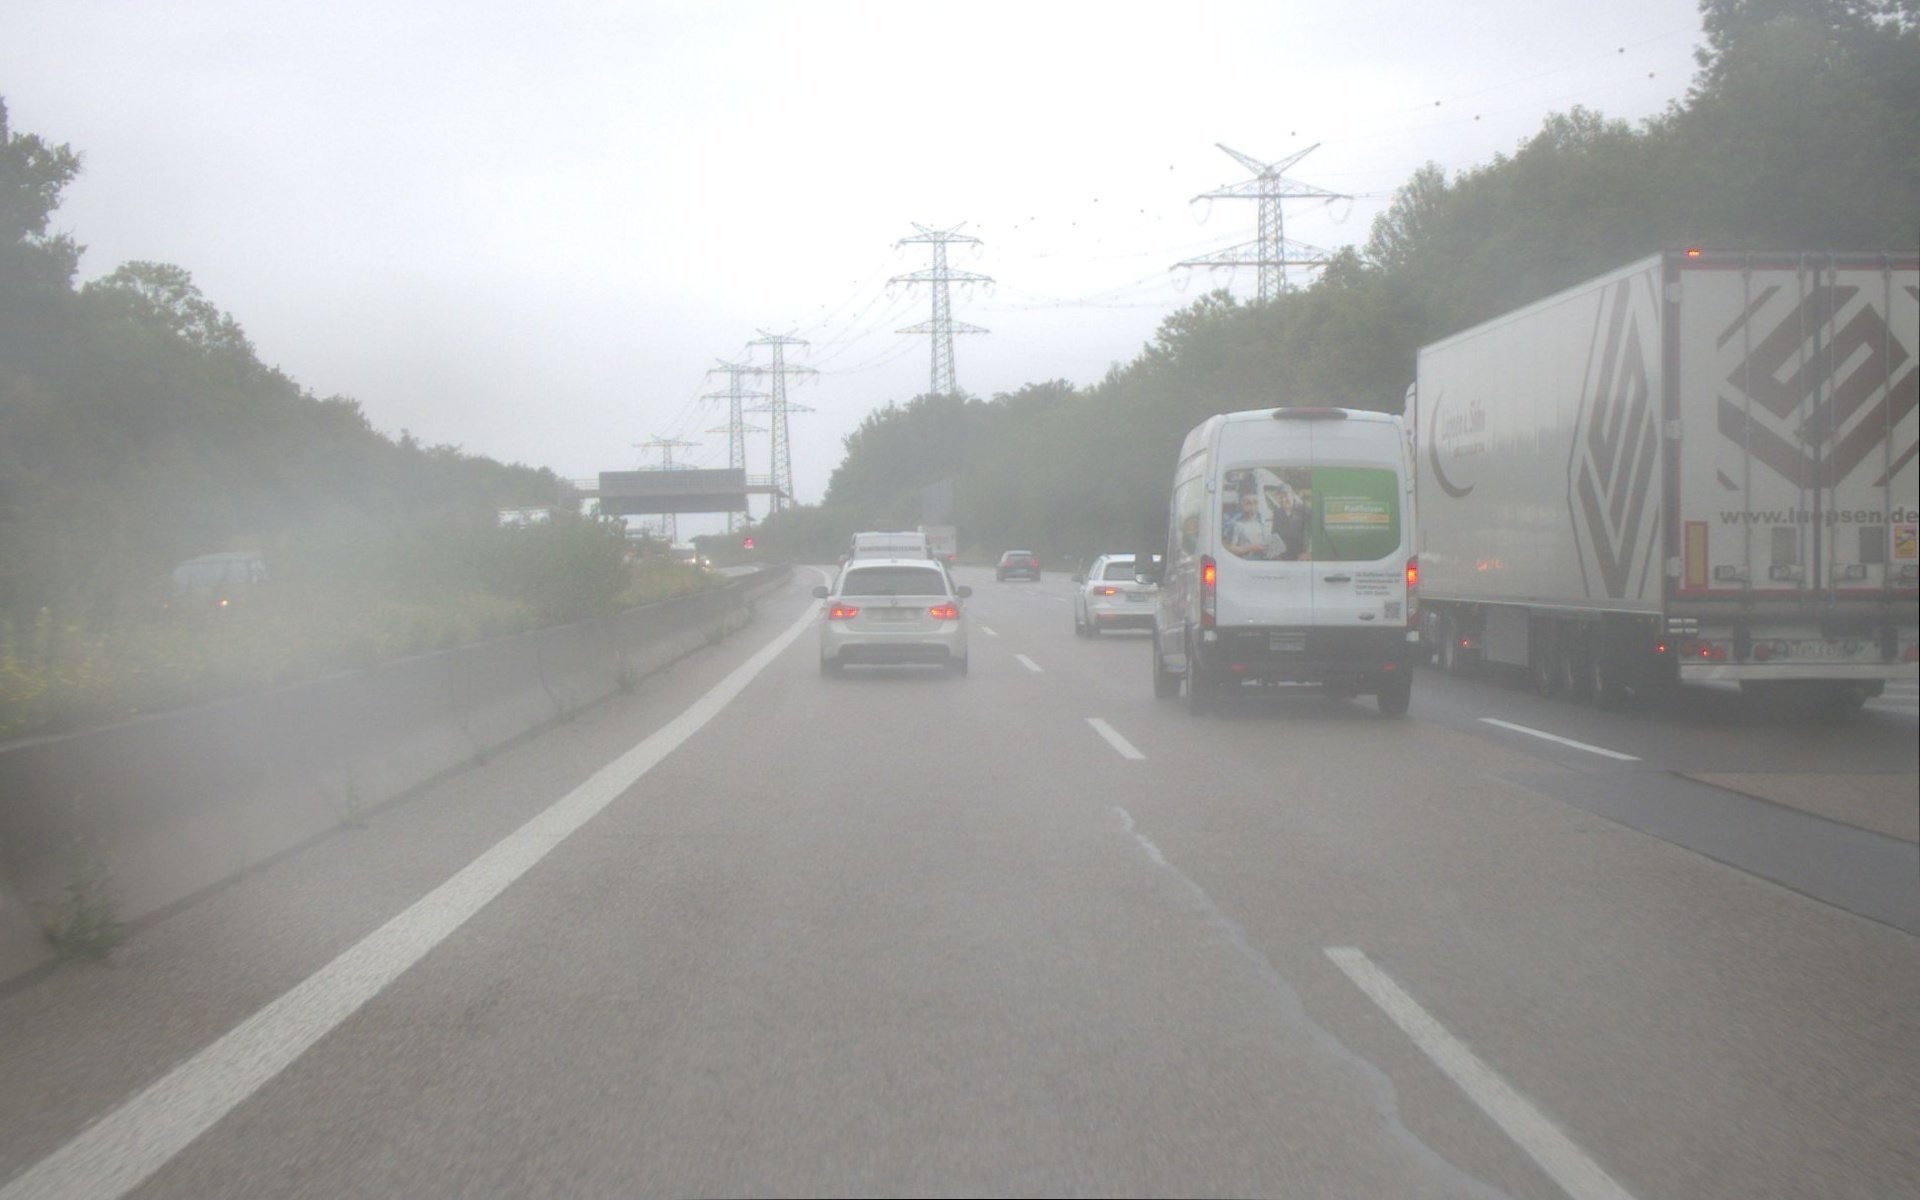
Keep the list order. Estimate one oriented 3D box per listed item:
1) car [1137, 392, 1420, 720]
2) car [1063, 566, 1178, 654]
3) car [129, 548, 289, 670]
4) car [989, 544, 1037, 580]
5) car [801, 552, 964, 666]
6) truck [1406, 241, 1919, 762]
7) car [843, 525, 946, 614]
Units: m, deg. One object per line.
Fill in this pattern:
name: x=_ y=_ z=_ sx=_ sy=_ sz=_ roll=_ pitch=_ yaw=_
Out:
car: x=2.909 y=-0.418 z=32.282 sx=1.993 sy=2.854 sz=4.001 roll=1 pitch=1 yaw=-4
car: x=2.756 y=0.145 z=58.291 sx=1.857 sy=1.418 sz=4.000 roll=0 pitch=1 yaw=4
car: x=-13.118 y=0.120 z=60.309 sx=1.993 sy=2.007 sz=4.751 roll=-1 pitch=1 yaw=-3
car: x=2.440 y=-1.728 z=157.633 sx=1.994 sy=1.481 sz=4.000 roll=-3 pitch=0 yaw=2
car: x=-0.913 y=0.077 z=41.861 sx=1.866 sy=1.284 sz=4.000 roll=1 pitch=1 yaw=0
truck: x=7.267 y=-0.853 z=35.325 sx=3.603 sy=4.317 sz=13.200 roll=-1 pitch=0 yaw=0
car: x=-1.332 y=-0.655 z=71.628 sx=1.846 sy=1.766 sz=4.000 roll=1 pitch=1 yaw=3
